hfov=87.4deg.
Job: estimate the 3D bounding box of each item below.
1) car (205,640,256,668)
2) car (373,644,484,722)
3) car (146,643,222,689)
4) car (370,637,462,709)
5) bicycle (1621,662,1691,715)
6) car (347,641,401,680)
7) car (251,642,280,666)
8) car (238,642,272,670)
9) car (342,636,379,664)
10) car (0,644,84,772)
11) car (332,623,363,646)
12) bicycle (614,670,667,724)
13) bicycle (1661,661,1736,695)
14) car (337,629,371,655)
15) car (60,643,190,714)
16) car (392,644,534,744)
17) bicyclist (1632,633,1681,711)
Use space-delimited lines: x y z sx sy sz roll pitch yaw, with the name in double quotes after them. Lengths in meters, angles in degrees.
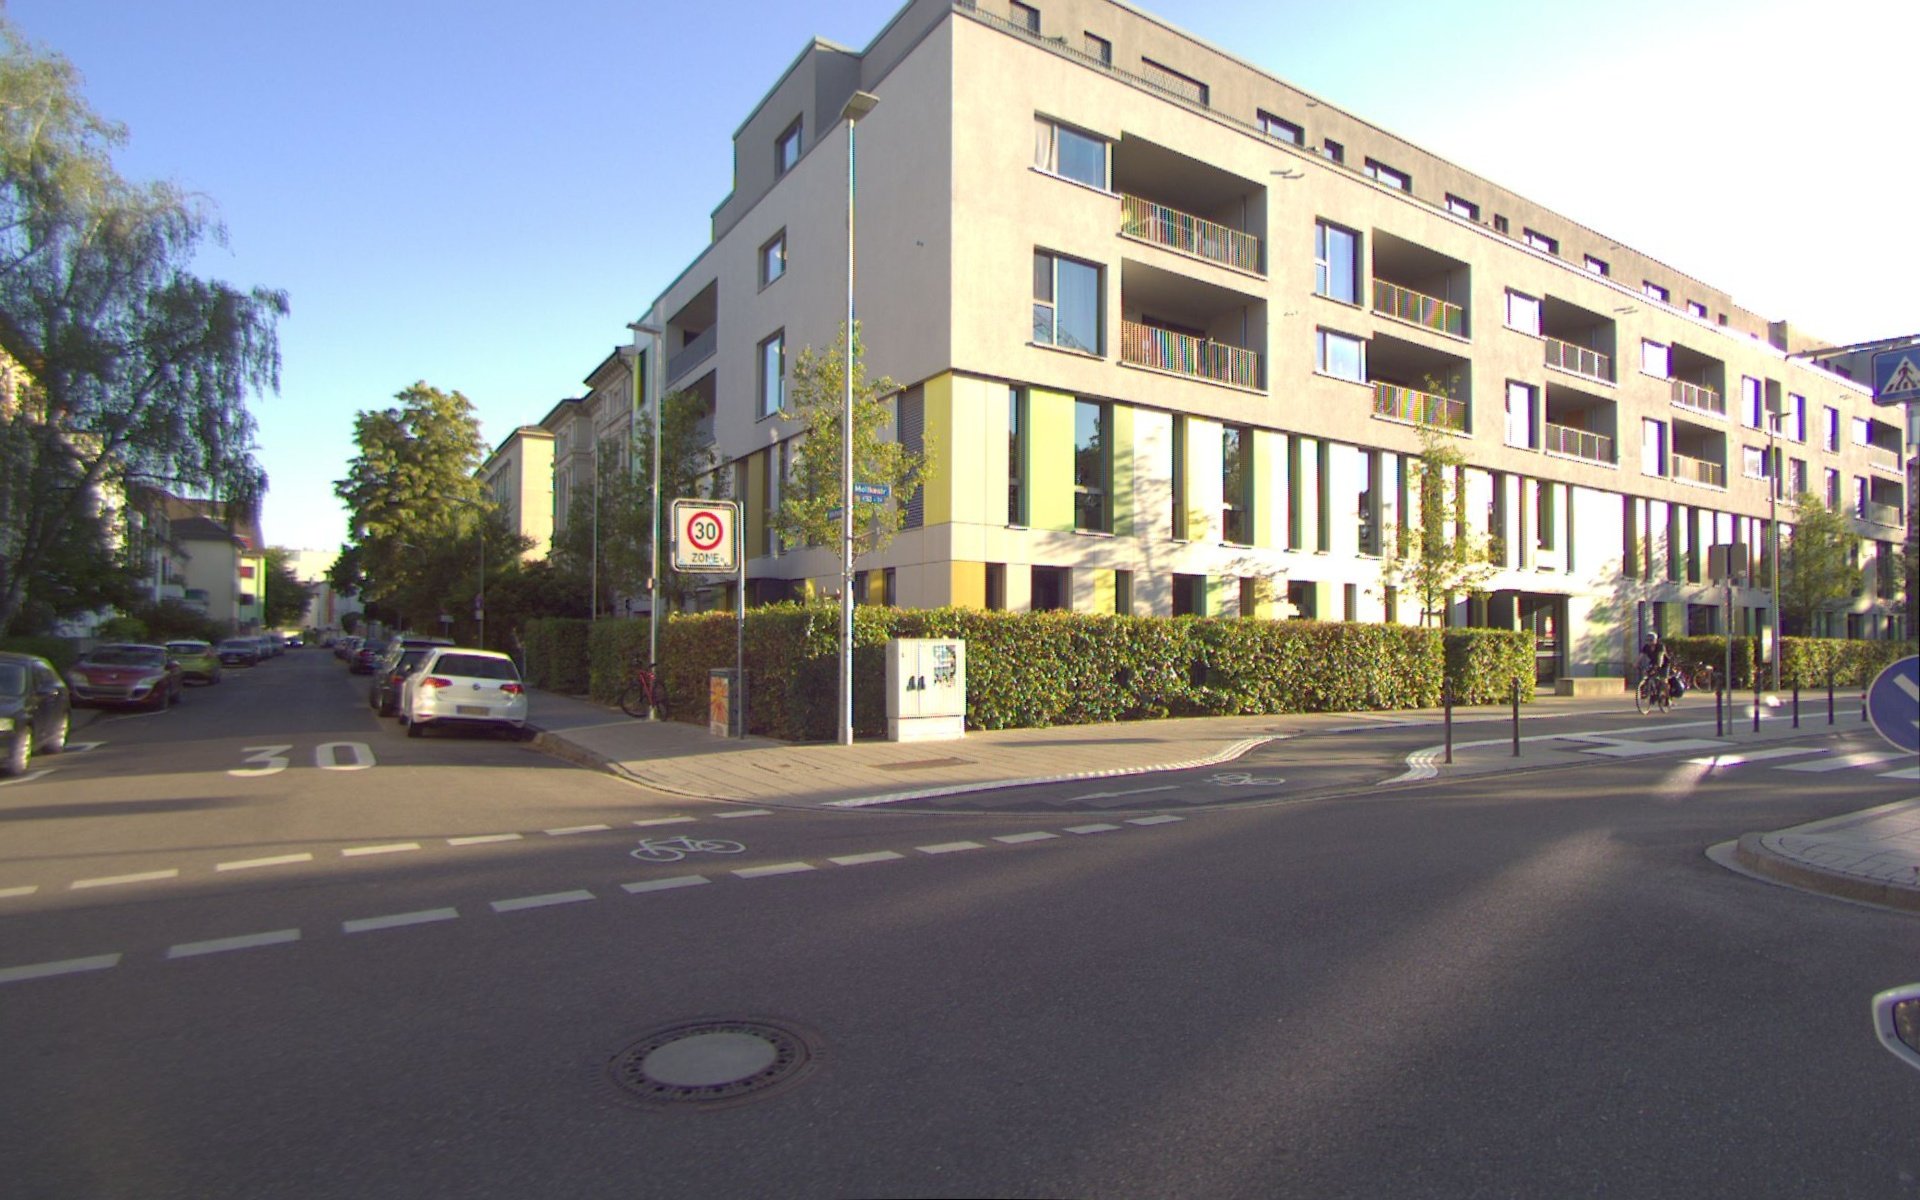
-38.935 2.863 53.690 1.883 1.457 3.886 2 -3 -31 "car"
-11.254 1.699 21.141 1.735 1.394 3.886 7 -6 -31 "car"
-26.504 2.207 34.412 1.886 1.457 3.880 2 -3 -36 "car"
-13.821 1.794 25.423 1.735 1.576 3.886 7 -6 -31 "car"
15.184 1.916 21.900 1.864 1.092 0.630 2 -3 -34 "bicycle"
-24.845 2.523 42.565 1.875 1.556 3.712 1 -3 -31 "car"
-60.518 4.664 87.555 1.981 2.040 3.961 2 -3 -35 "car"
-52.675 4.132 75.027 1.981 2.040 3.961 2 -3 -35 "car"
-36.658 3.064 61.442 1.875 1.661 3.712 1 -3 -31 "car"
-12.829 1.309 12.896 1.885 1.457 3.882 2 -3 -34 "car"
-44.647 2.527 73.267 1.875 1.661 3.712 1 -3 -31 "car"
-5.862 1.755 18.386 0.507 0.904 1.588 2 -3 -34 "bicycle"
22.700 2.394 30.898 0.611 0.930 1.740 2 -1 -34 "bicycle"
-40.922 2.844 67.864 1.875 1.661 3.712 1 -3 -31 "car"
-19.049 1.726 23.076 1.885 1.457 3.882 2 -3 -34 "car"
-8.788 1.588 17.607 1.799 1.456 3.886 7 -6 -31 "car"
15.211 1.563 21.937 0.750 1.666 0.623 2 -3 -33 "bicyclist"
